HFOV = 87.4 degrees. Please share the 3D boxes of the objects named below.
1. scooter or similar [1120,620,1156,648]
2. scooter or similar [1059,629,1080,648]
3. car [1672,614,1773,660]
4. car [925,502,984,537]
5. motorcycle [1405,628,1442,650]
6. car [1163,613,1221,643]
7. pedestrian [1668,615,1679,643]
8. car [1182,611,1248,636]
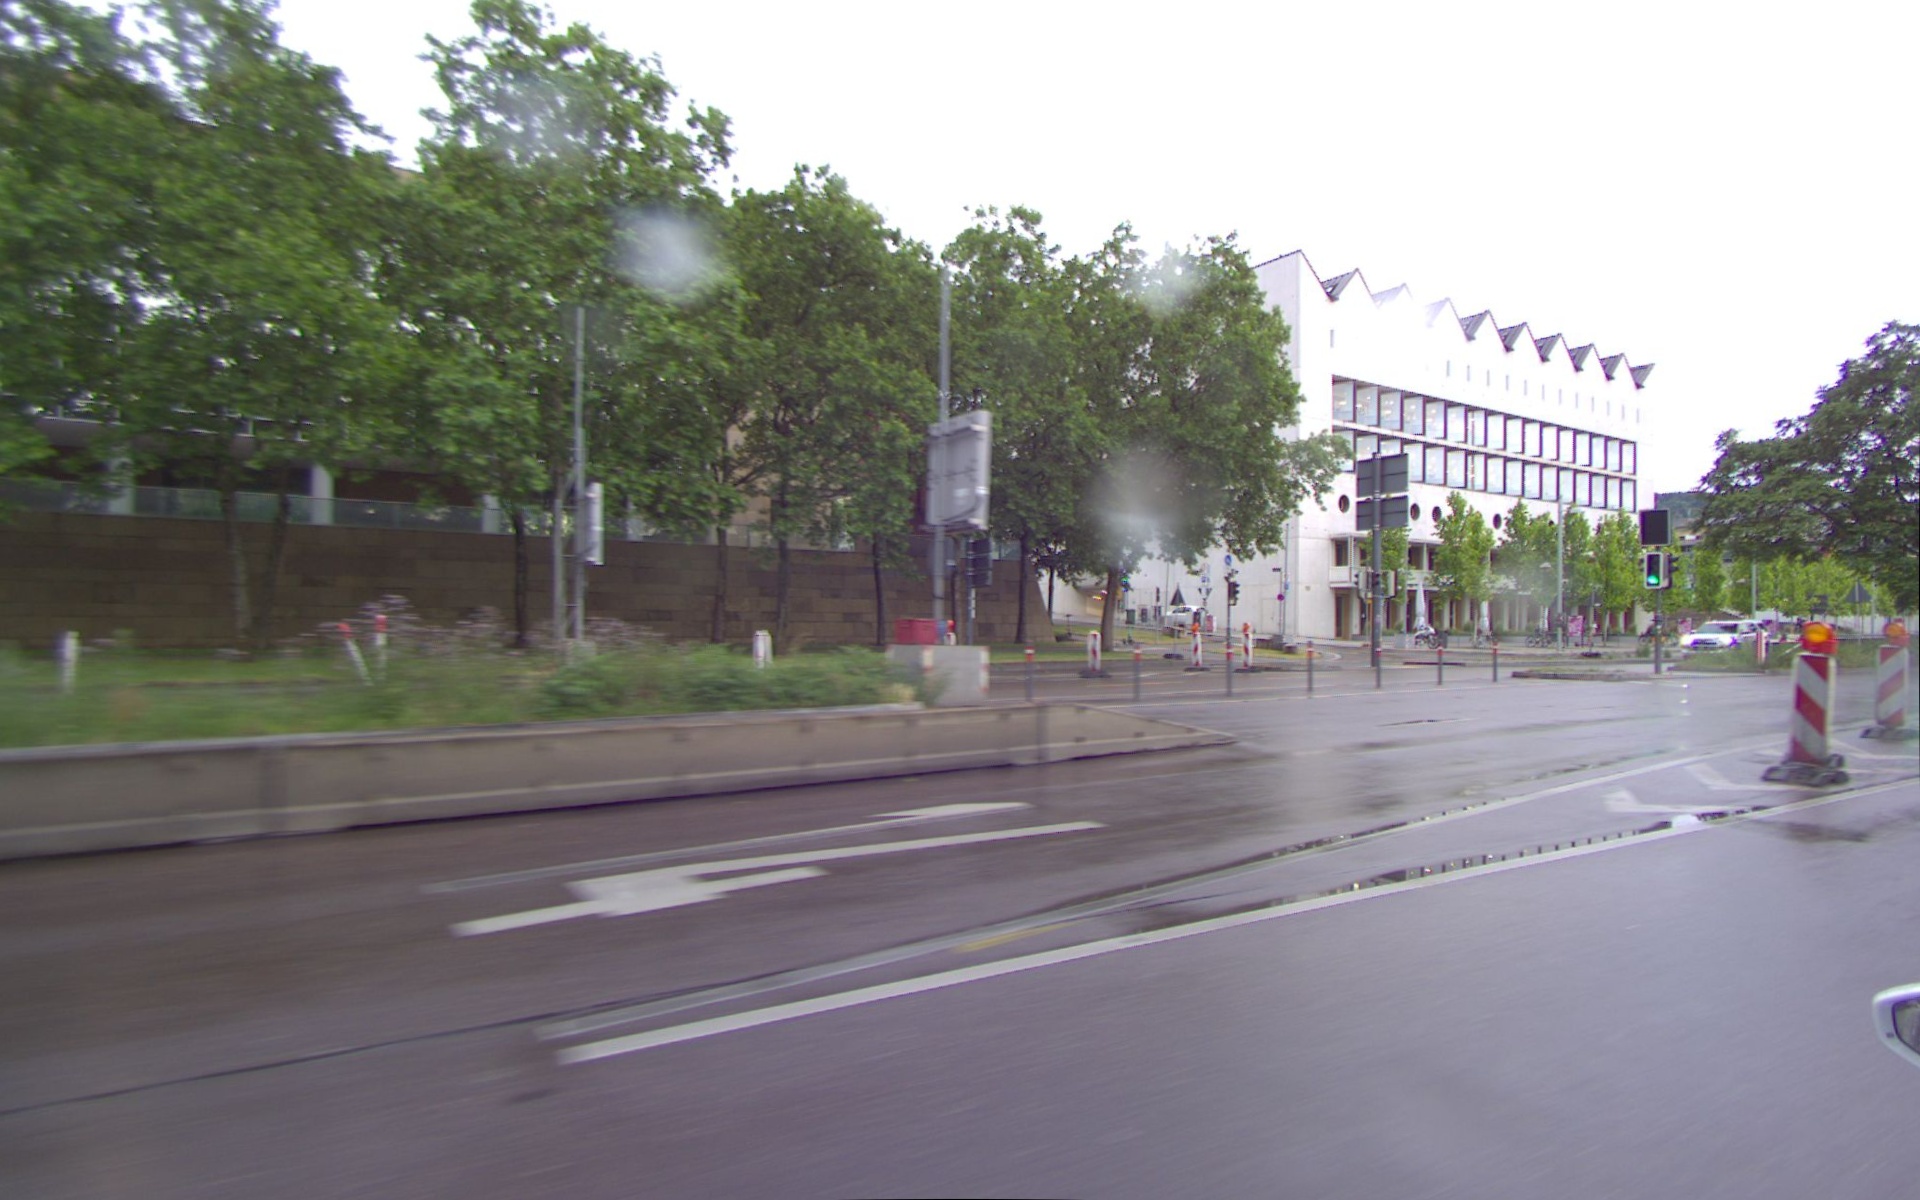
[{"bbox_3d":[9.020,1.740,51.001,1.645,1.369,0.713,1,-3,-11],"label":"scooter or similar"},{"bbox_3d":[5.926,2.084,54.311,0.430,1.031,1.668,1,-3,-19],"label":"scooter or similar"},{"bbox_3d":[32.647,1.627,42.964,4.842,1.864,1.982,2,-3,-34],"label":"car"},{"bbox_3d":[-0.419,-6.031,75.741,3.951,2.142,1.985,2,-3,-29],"label":"car"},{"bbox_3d":[25.447,2.149,55.153,1.808,1.169,0.426,-1,-2,32],"label":"motorcycle"},{"bbox_3d":[16.332,2.005,70.983,1.974,2.040,3.974,2,-3,-26],"label":"car"},{"bbox_3d":[52.530,2.159,73.912,0.531,2.040,0.530,-1,-3,24],"label":"pedestrian"},{"bbox_3d":[16.895,1.556,66.582,1.979,1.617,3.963,1,-1,-33],"label":"car"}]
